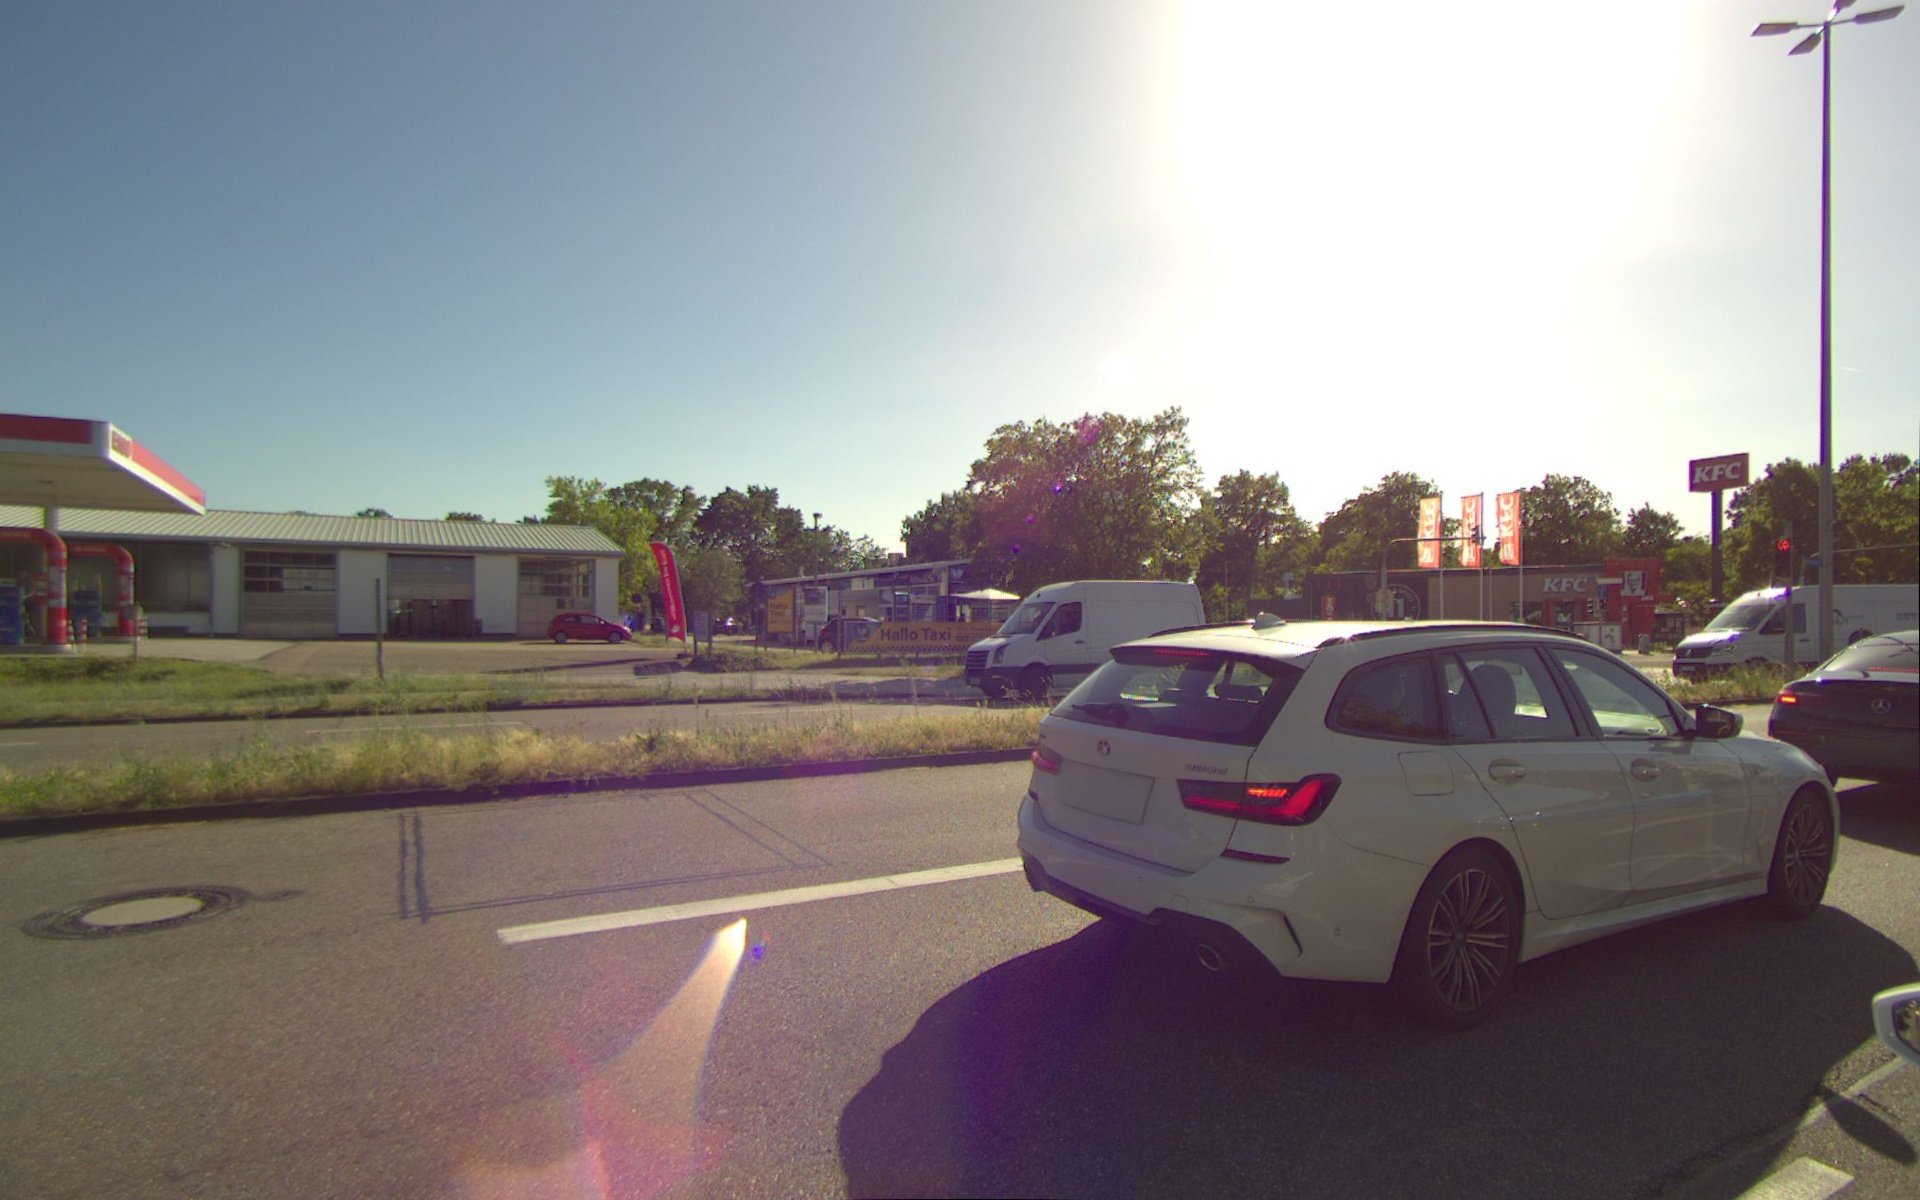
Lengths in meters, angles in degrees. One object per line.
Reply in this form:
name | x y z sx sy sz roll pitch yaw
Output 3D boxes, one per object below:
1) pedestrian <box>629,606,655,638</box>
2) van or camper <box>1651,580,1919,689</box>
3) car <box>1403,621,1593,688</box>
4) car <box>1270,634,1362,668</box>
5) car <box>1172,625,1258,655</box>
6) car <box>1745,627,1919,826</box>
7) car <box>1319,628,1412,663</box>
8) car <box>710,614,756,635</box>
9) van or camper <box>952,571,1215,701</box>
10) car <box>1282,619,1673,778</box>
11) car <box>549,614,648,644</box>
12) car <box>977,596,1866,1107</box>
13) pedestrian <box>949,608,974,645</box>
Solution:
pedestrian | -18.201 1.264 57.499 1.089 1.787 1.148 1 -1 -35
van or camper | 21.659 0.867 25.581 6.620 2.606 2.185 1 -1 1
car | 14.518 1.434 27.131 4.542 1.675 1.992 1 -1 -19
car | 17.016 2.411 48.162 1.801 1.448 4.022 1 -1 -27
car | 13.783 2.132 54.521 1.840 1.449 4.700 0 0 -28
car | 8.793 0.966 8.623 4.409 1.433 1.760 1 -1 -30
car | 20.062 2.231 49.853 1.804 1.616 4.016 1 -1 -31
car | -19.935 2.136 88.257 2.085 1.840 4.000 0 -1 20
van or camper | 2.882 0.844 22.969 5.880 2.685 1.987 1 -3 -27
car | 5.820 0.959 11.177 4.352 1.448 1.848 1 -1 -30
car | -17.852 1.425 49.636 4.486 1.458 1.741 1 -1 -26
car | 2.414 0.798 4.903 4.409 1.529 1.760 1 -1 -30
pedestrian | 0.068 1.295 49.319 0.805 1.828 0.950 0 -1 36
